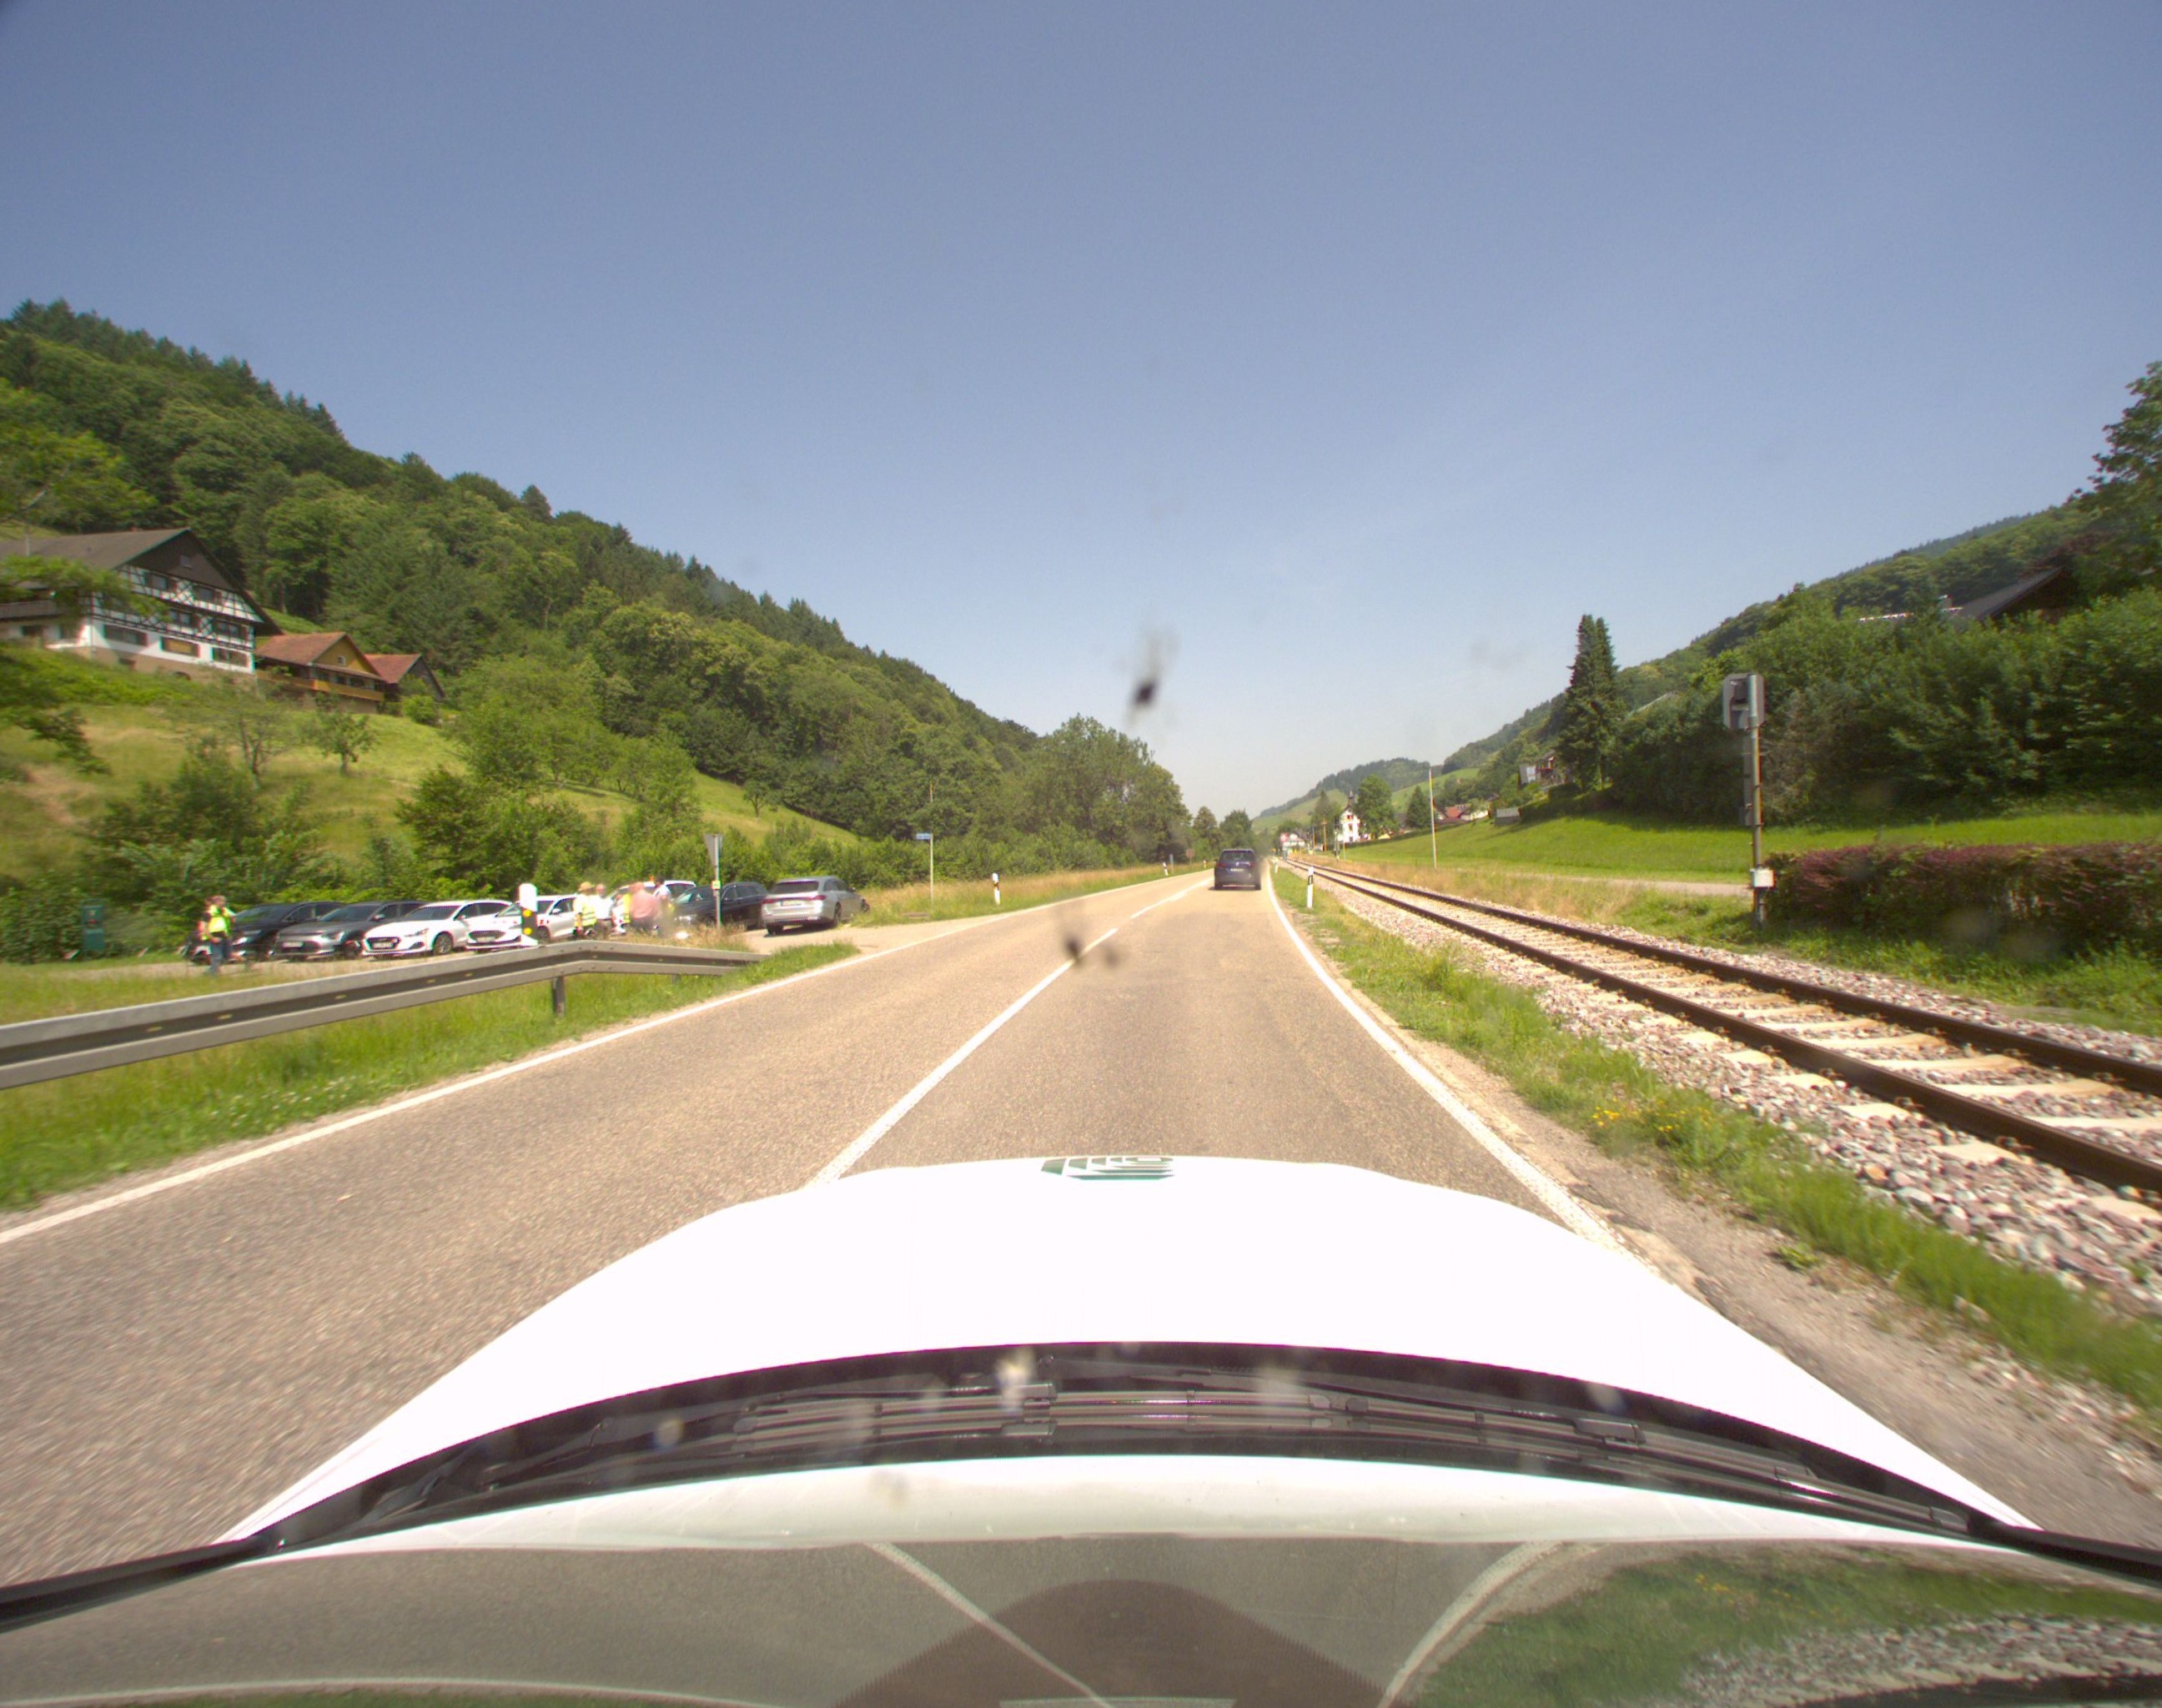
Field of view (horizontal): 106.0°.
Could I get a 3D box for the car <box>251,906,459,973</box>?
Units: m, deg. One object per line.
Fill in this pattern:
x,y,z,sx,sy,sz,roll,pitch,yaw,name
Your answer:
-20.964,2.408,23.832,1.987,1.501,4.520,-2,-1,0,car

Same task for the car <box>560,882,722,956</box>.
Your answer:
-12.969,1.849,24.433,1.862,1.782,4.779,-3,-1,5,car

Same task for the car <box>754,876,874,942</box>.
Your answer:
-7.402,1.472,23.048,1.820,1.500,4.278,-5,-1,1,car

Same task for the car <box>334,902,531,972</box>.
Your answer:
-18.465,2.296,23.535,1.987,1.500,4.520,-4,-1,0,car

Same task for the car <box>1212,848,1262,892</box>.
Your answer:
6.305,0.624,33.036,1.841,1.649,4.151,-2,-1,10,car

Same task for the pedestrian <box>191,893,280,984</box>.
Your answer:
-19.942,1.959,19.236,1.130,1.969,0.855,-4,-1,-22,pedestrian

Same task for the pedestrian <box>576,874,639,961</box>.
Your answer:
-10.323,1.376,17.766,0.761,1.796,0.799,-5,-1,28,pedestrian

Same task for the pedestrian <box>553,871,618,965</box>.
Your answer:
-10.196,1.298,16.771,0.782,1.842,0.701,-5,-1,12,pedestrian

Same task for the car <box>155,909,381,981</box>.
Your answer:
-23.450,2.565,23.815,1.987,1.500,4.520,-4,-1,0,car

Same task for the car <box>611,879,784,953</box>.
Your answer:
-10.656,1.655,23.087,1.981,1.652,4.635,-5,-2,11,car

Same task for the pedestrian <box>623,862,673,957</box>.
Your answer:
-9.247,1.174,17.404,0.660,1.955,0.531,-5,-1,-8,pedestrian

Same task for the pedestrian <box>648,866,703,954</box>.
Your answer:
-9.005,1.240,18.085,0.640,1.858,0.776,-6,-1,35,pedestrian

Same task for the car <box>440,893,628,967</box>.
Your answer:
-15.795,2.121,23.933,1.986,1.641,4.904,-5,-1,2,car

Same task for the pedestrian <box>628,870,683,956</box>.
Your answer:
-9.639,1.331,18.454,0.640,1.840,0.776,-6,-1,35,pedestrian

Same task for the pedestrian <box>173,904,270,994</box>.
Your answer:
-18.829,2.052,17.873,0.952,1.794,0.999,-5,-1,-4,pedestrian
